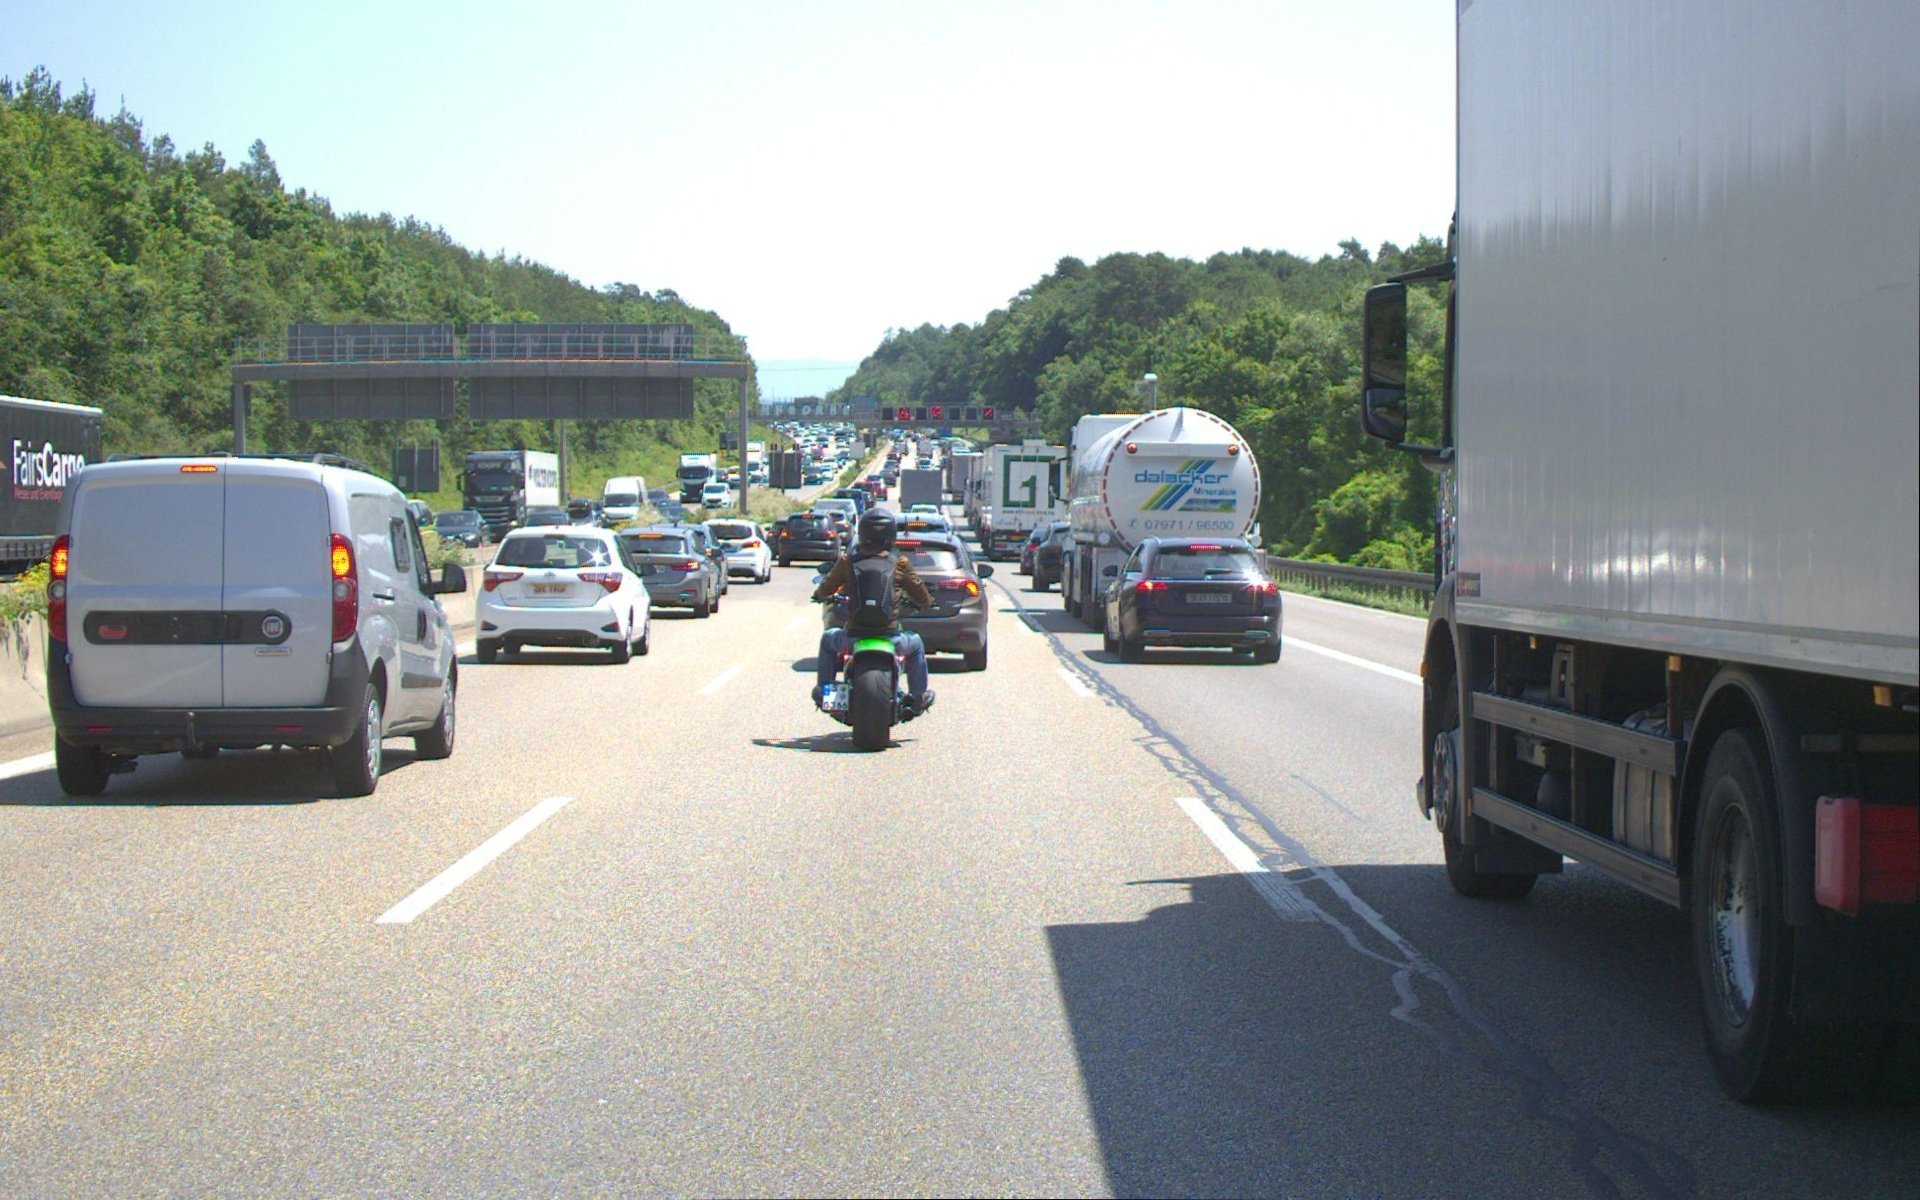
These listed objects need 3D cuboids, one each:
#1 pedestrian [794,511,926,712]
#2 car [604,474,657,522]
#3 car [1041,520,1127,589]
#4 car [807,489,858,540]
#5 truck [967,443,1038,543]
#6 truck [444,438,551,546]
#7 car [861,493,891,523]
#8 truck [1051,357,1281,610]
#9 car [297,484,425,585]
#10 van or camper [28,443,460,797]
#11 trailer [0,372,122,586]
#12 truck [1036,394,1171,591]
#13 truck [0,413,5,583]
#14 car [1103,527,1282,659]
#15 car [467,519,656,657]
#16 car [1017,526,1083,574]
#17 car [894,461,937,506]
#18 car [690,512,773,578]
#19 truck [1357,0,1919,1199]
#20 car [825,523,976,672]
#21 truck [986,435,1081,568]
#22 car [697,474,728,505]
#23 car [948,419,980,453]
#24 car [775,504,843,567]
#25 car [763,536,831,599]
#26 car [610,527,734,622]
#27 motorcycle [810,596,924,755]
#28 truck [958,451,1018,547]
[{"bbox_3d":[-0.692,0.074,24.121,0.849,1.357,0.961,-2,1,1],"label":"pedestrian"},{"bbox_3d":[-16.500,-5.095,172.463,1.993,2.369,7.365,0,1,0],"label":"car"},{"bbox_3d":[2.819,-1.063,78.919,1.787,1.550,3.804,0,1,0],"label":"car"},{"bbox_3d":[-5.303,-3.562,143.308,1.929,2.007,4.000,-2,0,0],"label":"car"},{"bbox_3d":[1.942,-4.984,161.612,3.033,4.527,9.983,1,1,0],"label":"truck"},{"bbox_3d":[-20.469,-4.735,152.534,3.724,4.512,7.326,-2,0,-1],"label":"truck"},{"bbox_3d":[-5.798,-6.336,237.689,1.993,2.007,4.000,1,1,0],"label":"car"},{"bbox_3d":[3.167,-1.752,55.458,2.988,3.659,9.288,-2,0,0],"label":"truck"},{"bbox_3d":[-12.812,-1.380,73.738,1.880,2.007,4.468,-3,0,0],"label":"car"},{"bbox_3d":[-4.152,0.094,20.565,1.796,1.886,4.160,1,0,-1],"label":"van or camper"},{"bbox_3d":[-19.383,-2.266,66.677,2.906,3.960,13.889,-2,0,-1],"label":"trailer"},{"bbox_3d":[2.647,-1.956,64.467,1.993,3.510,4.752,-2,0,-3],"label":"truck"},{"bbox_3d":[-19.343,-2.225,60.449,2.906,3.960,7.769,-2,0,-1],"label":"truck"},{"bbox_3d":[2.727,-0.122,41.105,1.828,1.465,4.000,1,1,0],"label":"car"},{"bbox_3d":[-4.437,-0.174,38.751,1.699,1.473,4.000,0,1,0],"label":"car"},{"bbox_3d":[2.627,-1.484,100.790,1.787,1.370,3.804,0,1,0],"label":"car"},{"bbox_3d":[-2.596,-6.817,201.017,2.504,2.578,5.016,0,1,0],"label":"car"},{"bbox_3d":[-5.281,-1.288,79.862,1.699,1.473,4.000,0,1,0],"label":"car"},{"bbox_3d":[3.223,-0.776,10.703,2.688,3.863,9.780,-2,1,0],"label":"truck"},{"bbox_3d":[-0.659,-0.054,37.779,1.532,1.504,4.000,-2,1,-1],"label":"car"},{"bbox_3d":[2.567,-3.499,123.723,3.033,4.527,9.983,1,1,0],"label":"truck"},{"bbox_3d":[-18.090,-8.088,251.792,1.880,2.007,4.468,-3,0,0],"label":"car"},{"bbox_3d":[0.227,-10.664,223.614,1.993,2.007,4.000,-2,0,0],"label":"car"},{"bbox_3d":[-4.549,-1.962,104.190,1.880,1.853,4.000,1,1,0],"label":"car"},{"bbox_3d":[-5.406,-1.085,114.458,1.993,2.007,4.000,-2,0,0],"label":"car"},{"bbox_3d":[-4.644,-0.447,55.826,1.699,1.473,4.000,0,1,0],"label":"car"},{"bbox_3d":[-0.631,0.502,23.972,0.691,1.012,2.121,1,1,1],"label":"motorcycle"},{"bbox_3d":[1.518,-5.602,191.579,3.033,5.122,9.983,1,1,0],"label":"truck"}]
